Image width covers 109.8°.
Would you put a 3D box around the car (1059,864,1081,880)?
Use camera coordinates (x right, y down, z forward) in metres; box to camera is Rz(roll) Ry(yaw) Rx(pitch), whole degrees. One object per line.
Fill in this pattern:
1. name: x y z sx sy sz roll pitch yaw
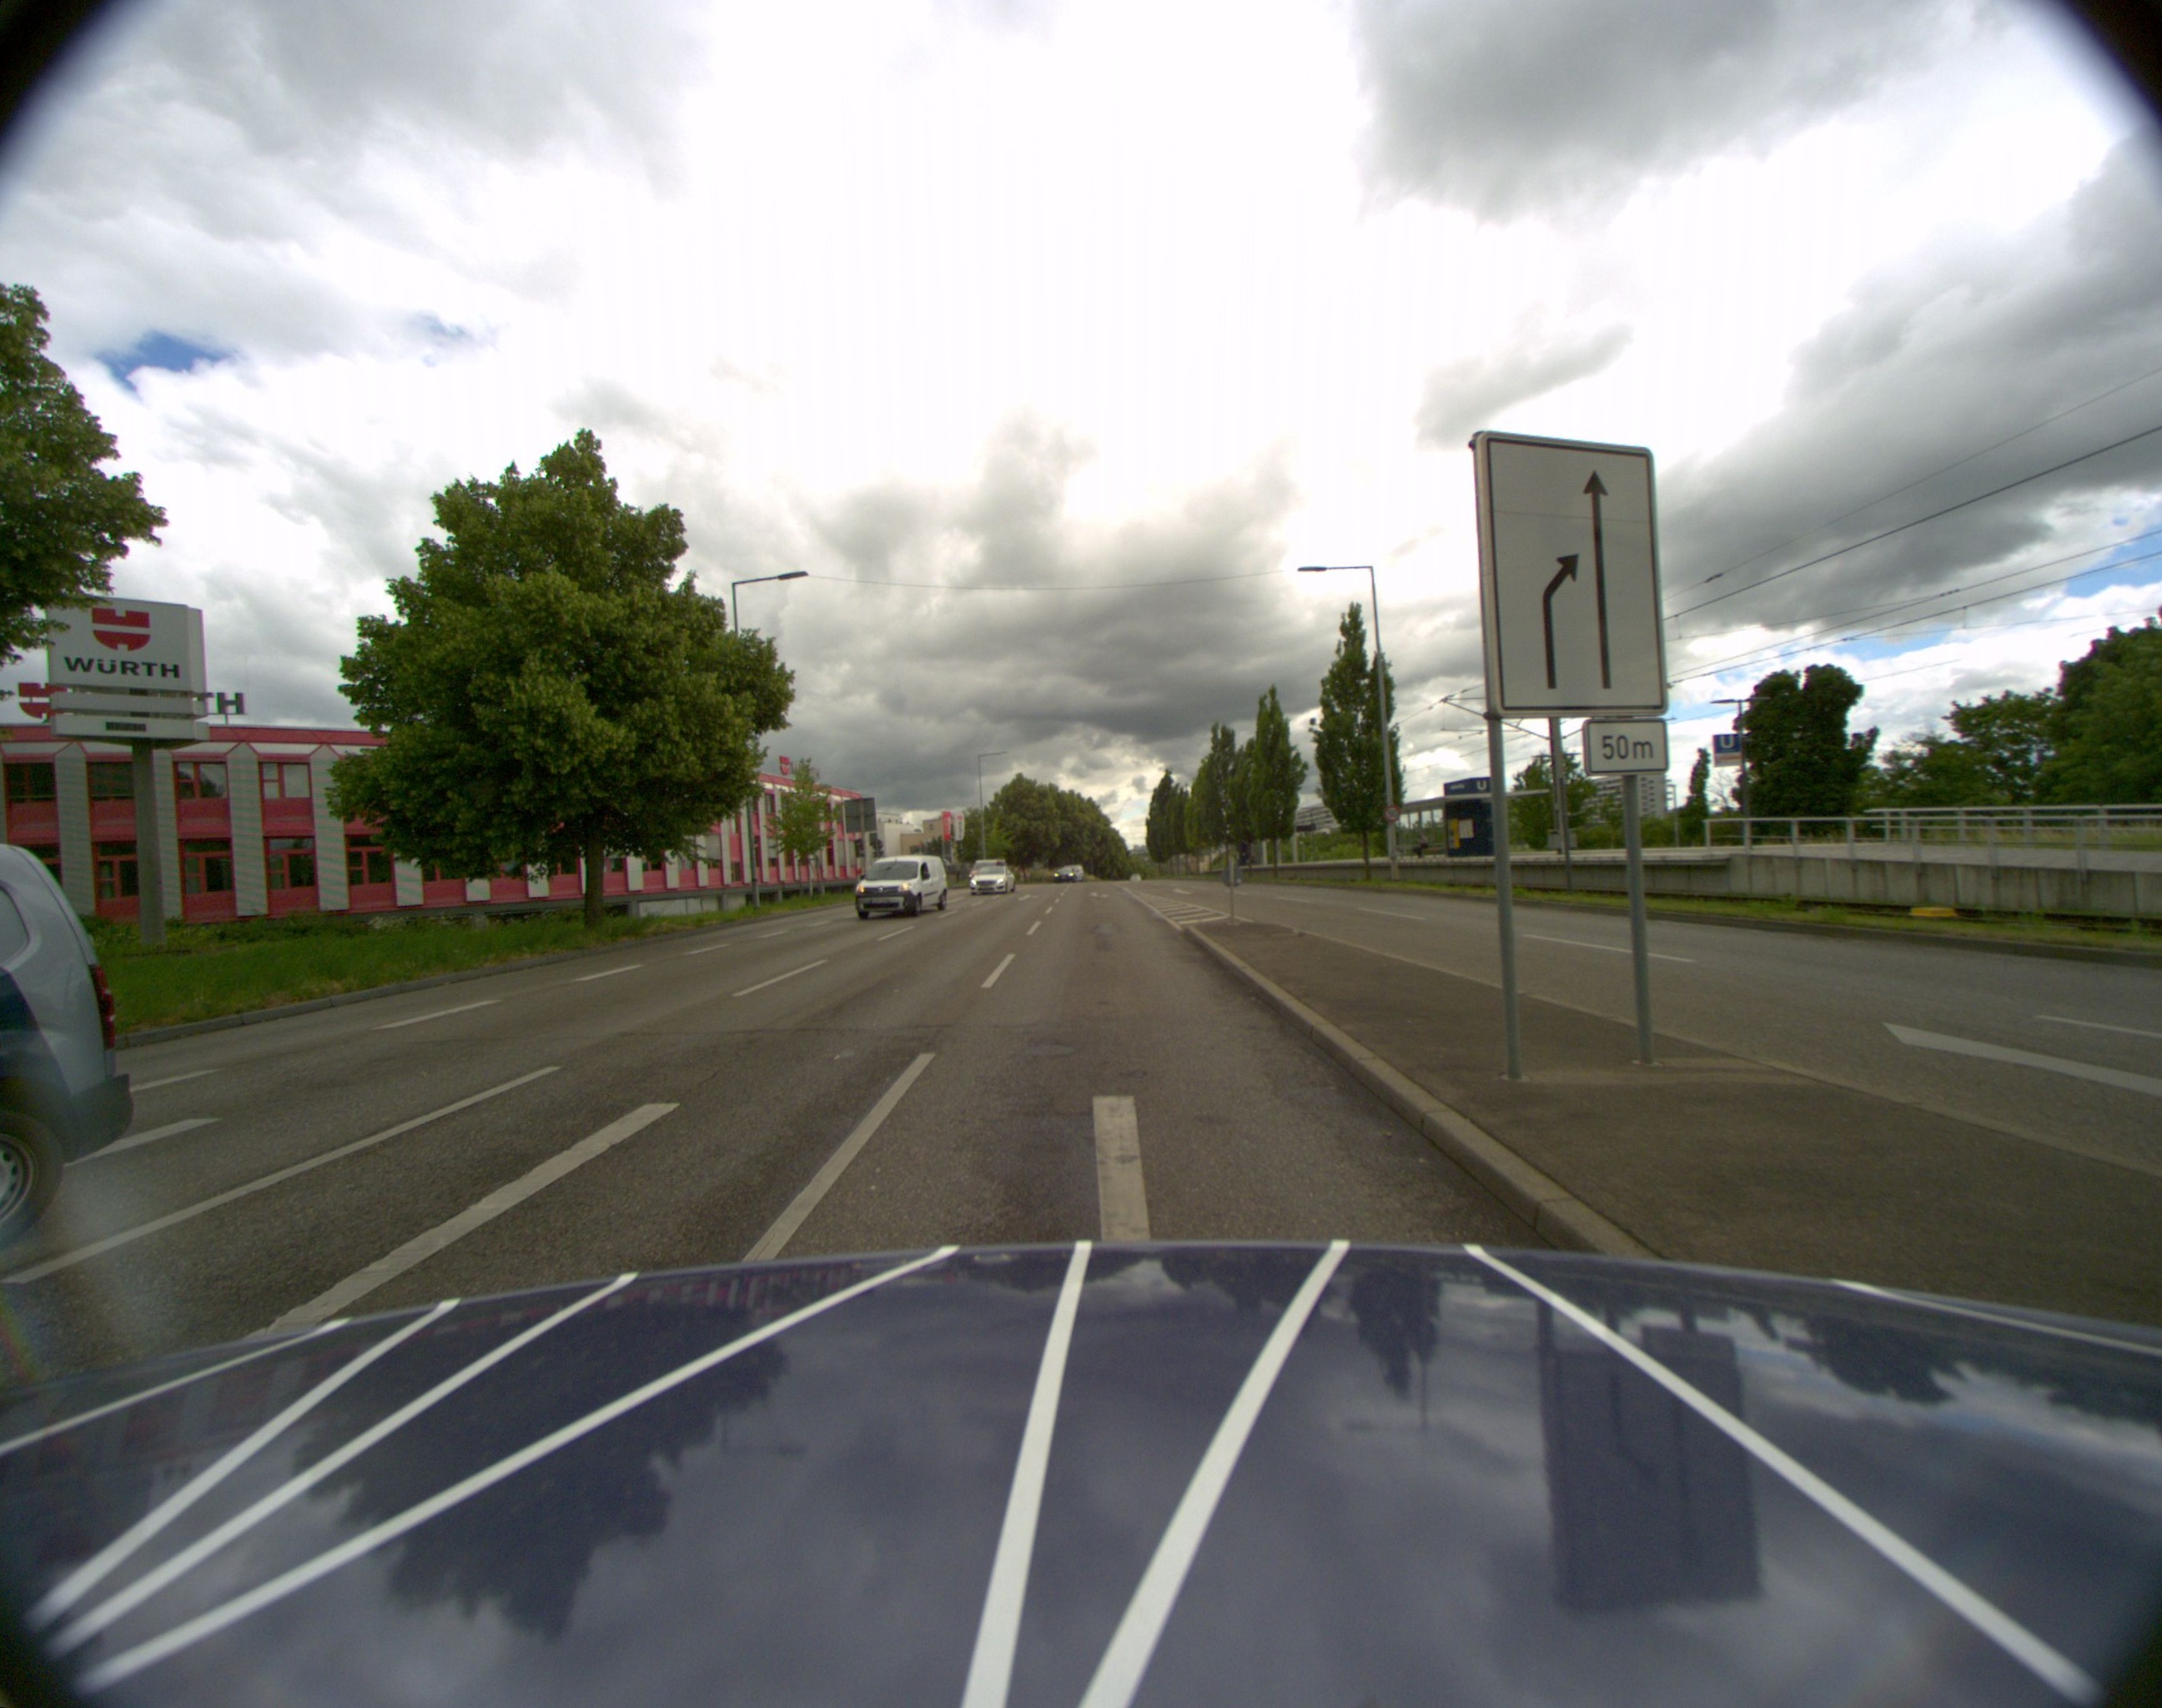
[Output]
1. car: -1.000 1.729 71.832 1.813 1.332 4.225 -2 -3 2

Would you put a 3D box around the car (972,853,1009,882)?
1. car: -6.482 1.023 54.964 2.183 1.893 4.455 -2 -3 -1

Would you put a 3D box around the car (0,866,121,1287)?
1. car: -5.508 0.991 1.486 1.813 1.770 4.222 -2 1 0

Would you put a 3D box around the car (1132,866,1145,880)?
1. car: 9.562 3.146 126.553 1.998 2.002 4.000 -2 1 3

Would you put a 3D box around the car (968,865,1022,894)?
1. car: -4.347 1.350 39.075 1.812 1.332 4.226 -2 -3 6

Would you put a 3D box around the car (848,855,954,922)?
1. car: -5.365 0.976 23.297 1.813 1.781 4.698 -2 -1 3

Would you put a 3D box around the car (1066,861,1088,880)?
1. car: -0.454 1.860 85.578 1.949 1.895 5.238 -2 1 5

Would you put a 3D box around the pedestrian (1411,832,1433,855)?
1. pedestrian: 17.779 -0.549 39.618 0.751 1.169 0.837 -2 1 0
